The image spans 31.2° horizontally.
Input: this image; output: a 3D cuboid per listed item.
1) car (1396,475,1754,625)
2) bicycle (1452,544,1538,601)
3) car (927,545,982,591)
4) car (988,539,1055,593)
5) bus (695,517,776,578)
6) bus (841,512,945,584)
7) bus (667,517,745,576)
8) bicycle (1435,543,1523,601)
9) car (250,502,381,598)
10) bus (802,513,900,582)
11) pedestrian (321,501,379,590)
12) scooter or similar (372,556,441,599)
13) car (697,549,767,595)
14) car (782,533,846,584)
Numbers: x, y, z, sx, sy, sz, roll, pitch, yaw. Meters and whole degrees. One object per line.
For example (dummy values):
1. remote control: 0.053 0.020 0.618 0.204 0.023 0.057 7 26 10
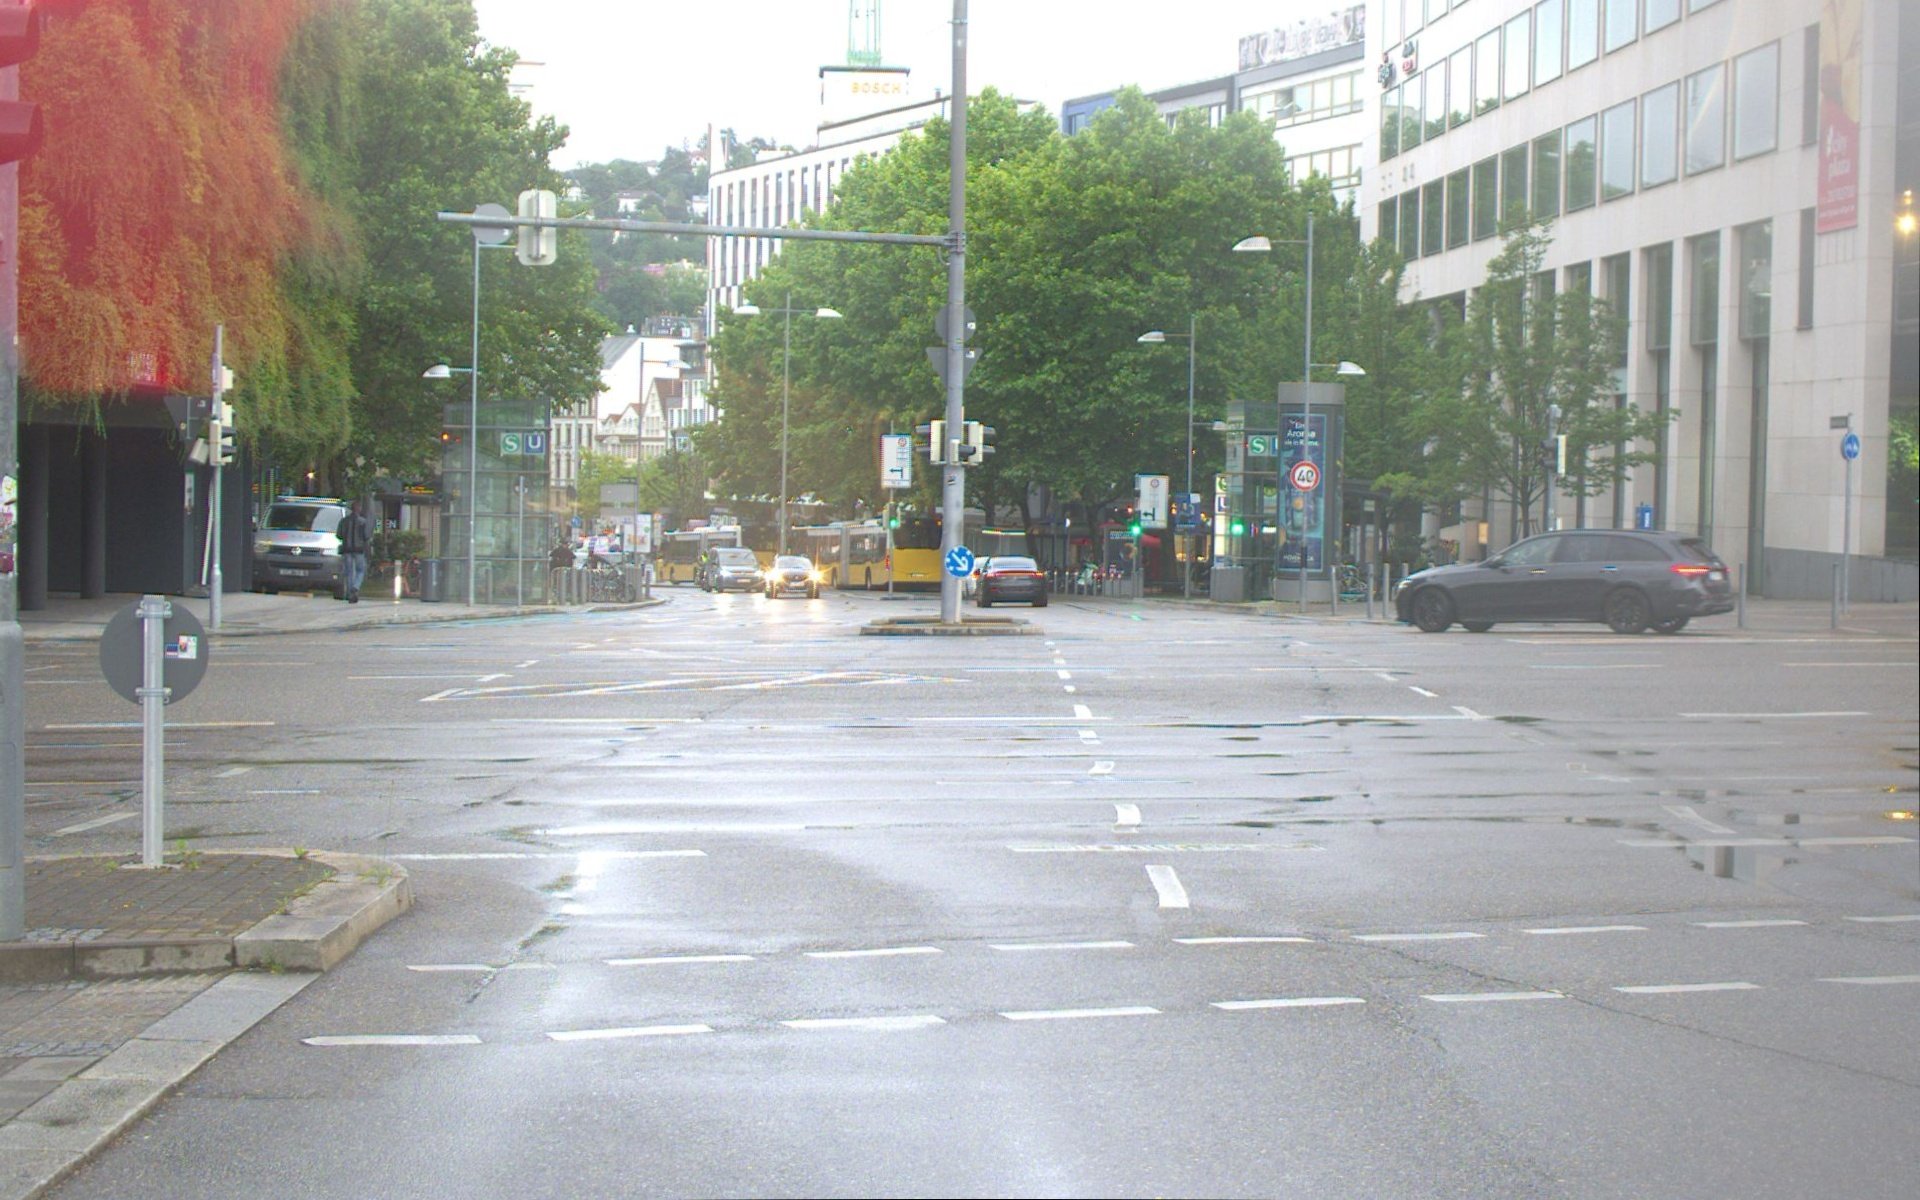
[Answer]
1. car: 8.567 -0.713 47.994 4.660 2.007 1.547 1 1 27
2. bicycle: 11.560 -0.597 74.319 1.777 1.190 0.586 1 0 2
3. car: -0.203 -1.064 115.214 1.781 1.503 4.000 1 1 -1
4. car: 1.755 -0.992 99.183 1.781 1.503 4.000 1 1 -1
5. bus: -11.342 -2.660 173.226 2.627 2.985 7.330 0 1 -16
6. bus: -2.888 -2.226 145.934 2.627 2.985 7.451 0 1 -16
7. bus: -13.357 -2.832 180.323 2.627 2.985 7.451 0 1 -16
8. bicycle: 10.984 -0.589 72.767 1.777 1.190 0.586 1 0 2
9. car: -12.769 -0.981 68.324 1.870 1.833 4.000 1 1 -1
10. bus: -4.901 -2.366 153.081 2.627 2.985 7.451 0 1 -16
11. pedestrian: -11.393 -1.011 64.196 0.933 1.638 0.774 1 0 -1
12. scooter or similar: -13.277 -0.539 82.542 0.623 1.001 1.657 1 1 38
13. car: -9.083 -1.116 136.622 2.163 1.759 4.832 -1 1 -11
14. car: -5.174 -1.464 121.613 2.164 1.759 5.112 0 1 -3
